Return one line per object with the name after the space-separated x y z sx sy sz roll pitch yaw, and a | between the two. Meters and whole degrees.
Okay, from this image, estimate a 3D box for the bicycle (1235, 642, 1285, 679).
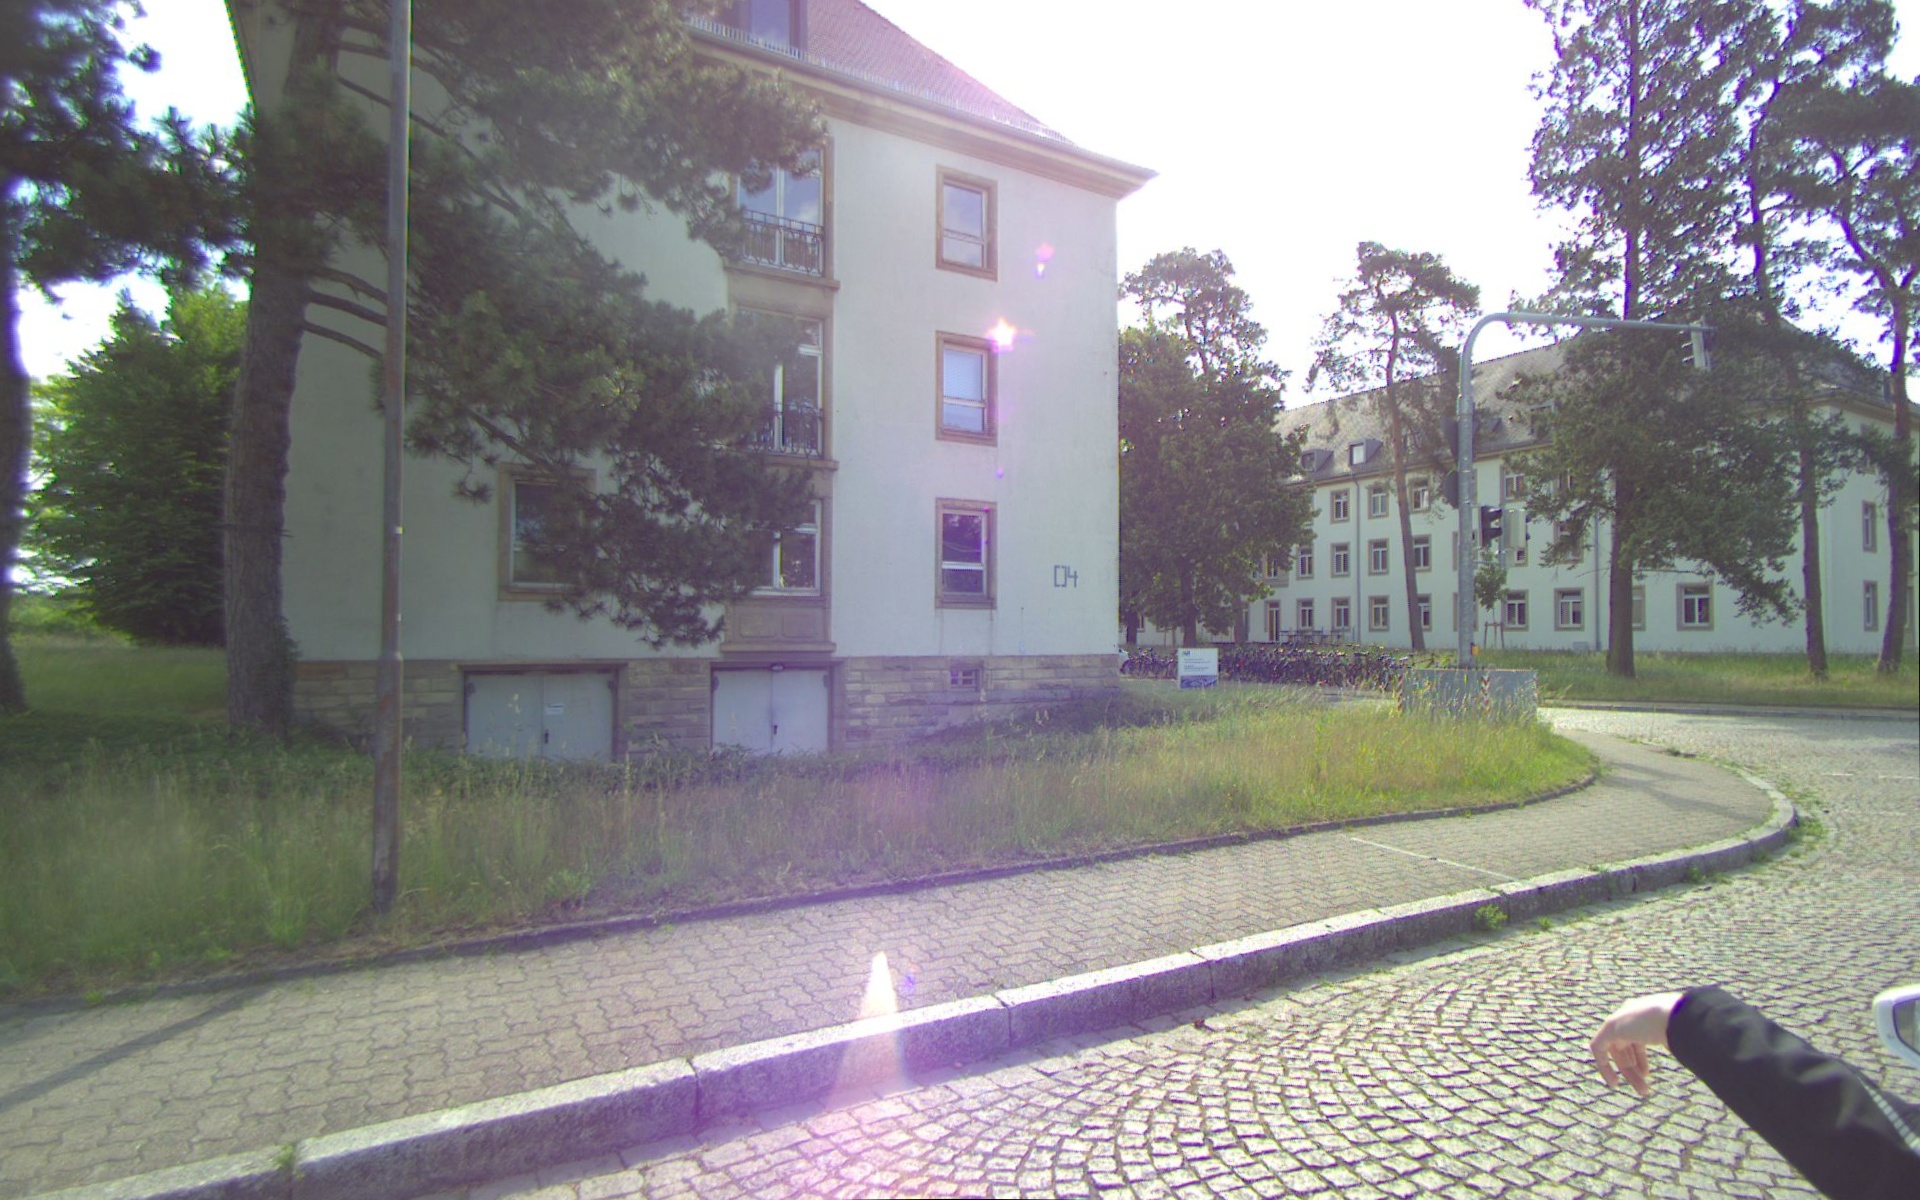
10.480 2.099 35.017 1.915 1.236 0.511 1 -2 -31 | bicycle

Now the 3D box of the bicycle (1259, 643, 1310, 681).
11.010 2.084 34.009 1.915 1.236 0.511 1 -2 -31 | bicycle

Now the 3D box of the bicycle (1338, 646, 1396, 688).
12.600 2.053 31.083 2.006 1.236 0.576 1 -2 -31 | bicycle

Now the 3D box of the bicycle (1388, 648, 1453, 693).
13.253 2.014 28.902 2.100 1.236 0.630 1 -2 -31 | bicycle

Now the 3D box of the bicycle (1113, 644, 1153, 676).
6.930 2.398 40.287 1.813 1.236 0.510 2 -3 -39 | bicycle

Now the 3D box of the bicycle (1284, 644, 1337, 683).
11.564 2.075 33.083 1.954 1.236 0.511 1 -2 -31 | bicycle

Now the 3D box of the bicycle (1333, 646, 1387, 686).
12.674 2.066 31.796 1.878 1.236 0.545 1 -2 -31 | bicycle

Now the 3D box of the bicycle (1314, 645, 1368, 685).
12.187 2.067 32.100 1.992 1.236 0.511 1 -2 -31 | bicycle

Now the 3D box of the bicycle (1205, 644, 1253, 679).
9.727 2.209 36.313 1.915 1.236 0.511 1 -2 -31 | bicycle

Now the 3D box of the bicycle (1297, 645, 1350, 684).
11.826 2.073 32.637 1.954 1.236 0.511 1 -2 -31 | bicycle

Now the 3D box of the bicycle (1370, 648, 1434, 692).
12.959 2.021 29.430 2.080 1.236 0.630 1 -2 -31 | bicycle

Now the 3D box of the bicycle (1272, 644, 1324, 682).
11.276 2.078 33.522 1.932 1.236 0.511 1 -2 -31 | bicycle

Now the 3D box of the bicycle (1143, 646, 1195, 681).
7.638 2.308 36.671 1.794 1.236 0.515 -1 -2 24 | bicycle

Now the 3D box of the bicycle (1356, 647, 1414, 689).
12.861 2.039 30.369 1.967 1.236 0.569 1 -2 -31 | bicycle

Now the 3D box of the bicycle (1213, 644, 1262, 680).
9.940 2.204 35.941 1.915 1.236 0.511 1 -2 -31 | bicycle

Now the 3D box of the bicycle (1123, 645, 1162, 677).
7.244 2.391 39.771 1.815 1.236 0.510 2 -3 -41 | bicycle

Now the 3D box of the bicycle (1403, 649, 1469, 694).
13.500 2.007 28.488 2.090 1.236 0.630 1 -2 -31 | bicycle

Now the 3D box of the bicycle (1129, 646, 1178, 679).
7.366 2.371 38.270 1.792 1.236 0.516 0 -2 7 | bicycle

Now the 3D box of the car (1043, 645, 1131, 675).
5.428 2.539 42.931 3.549 1.227 1.504 1 -3 -29 | car

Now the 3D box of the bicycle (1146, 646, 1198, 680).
7.870 2.316 37.277 1.794 1.236 0.515 -1 -2 24 | bicycle

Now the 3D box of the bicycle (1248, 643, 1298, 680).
10.758 2.091 34.494 1.915 1.236 0.511 1 -2 -31 | bicycle

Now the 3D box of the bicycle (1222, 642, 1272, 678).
10.167 2.106 35.540 1.915 1.236 0.511 1 -2 -31 | bicycle

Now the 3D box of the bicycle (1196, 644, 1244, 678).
9.511 2.214 36.705 1.915 1.236 0.511 1 -2 -31 | bicycle

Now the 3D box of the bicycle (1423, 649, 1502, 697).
13.481 1.932 27.010 0.627 1.236 1.853 1 -2 -30 | bicycle
